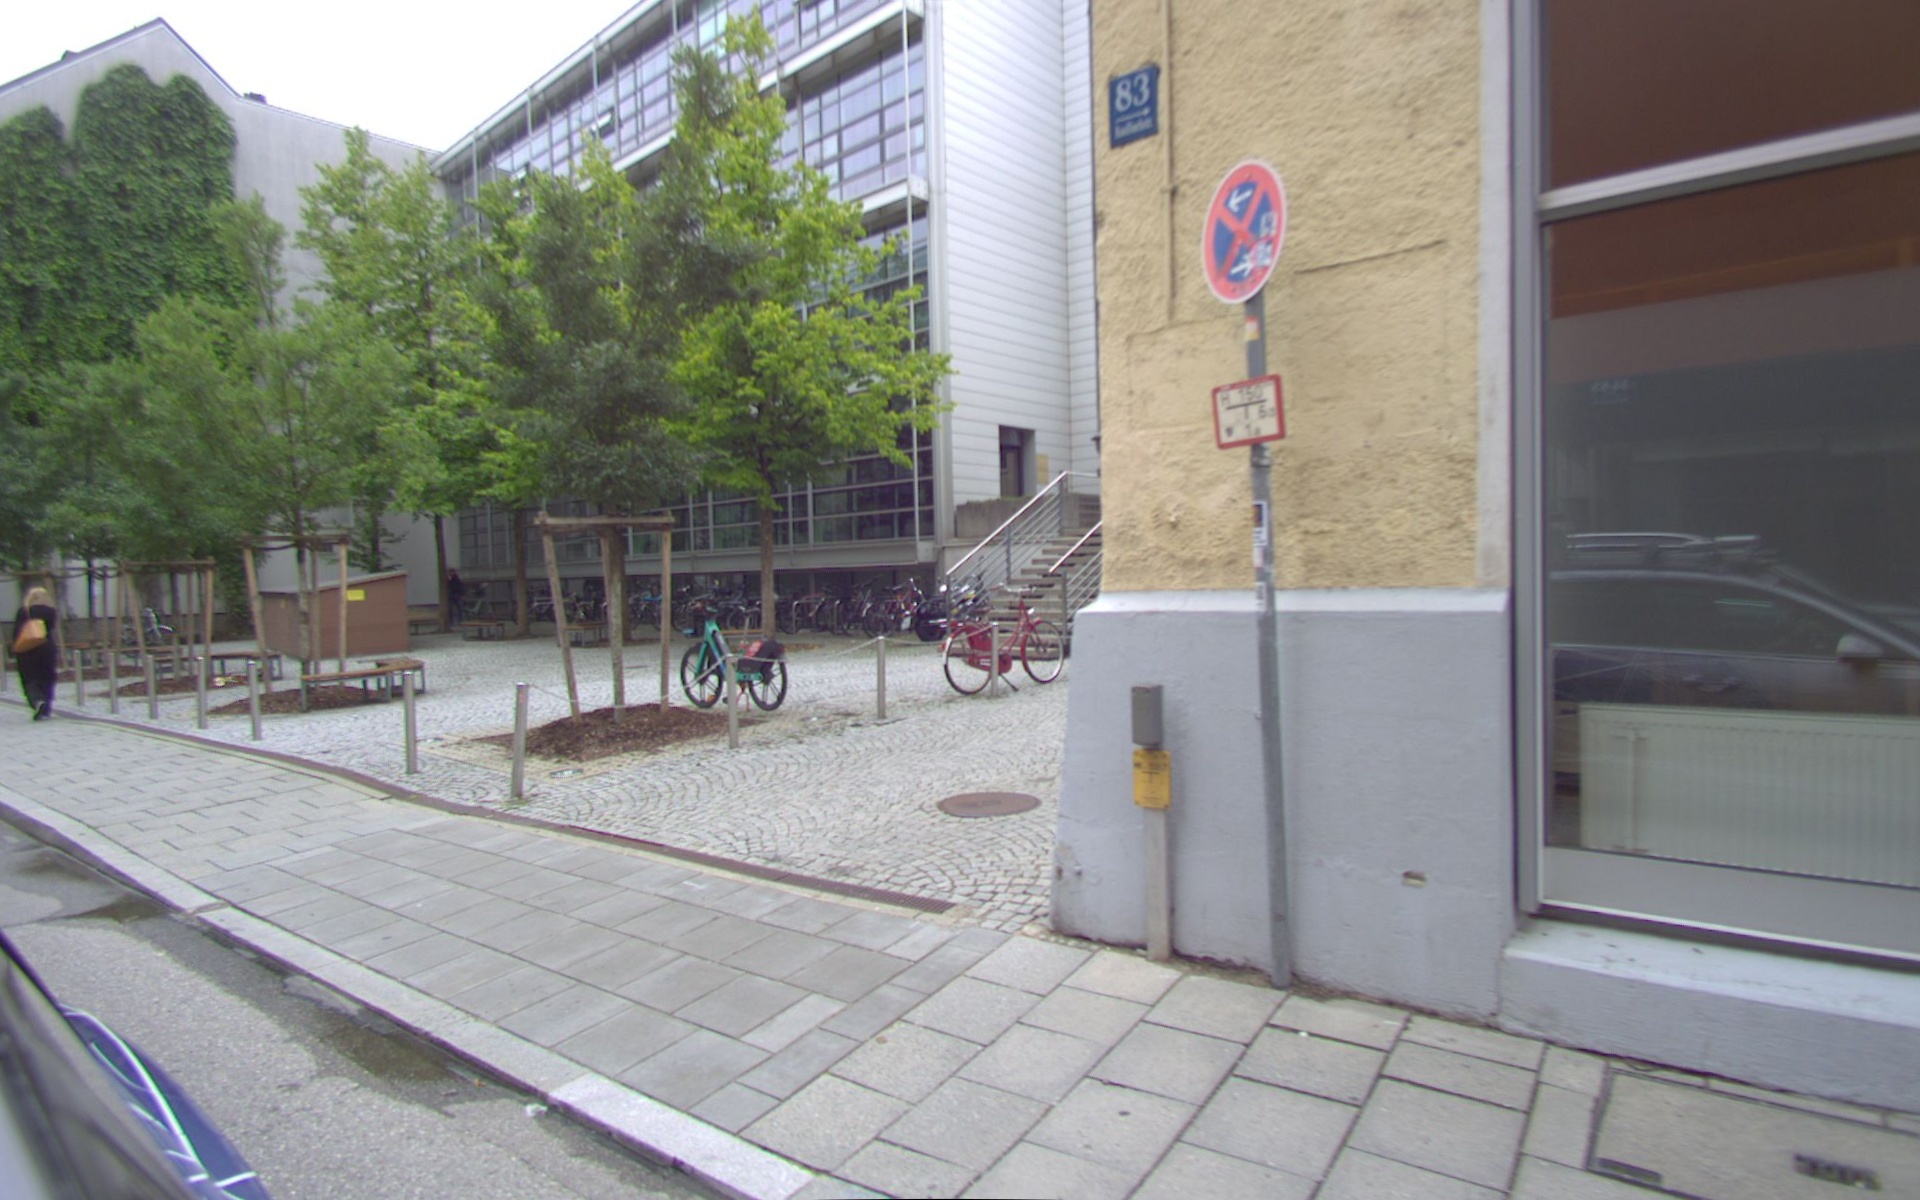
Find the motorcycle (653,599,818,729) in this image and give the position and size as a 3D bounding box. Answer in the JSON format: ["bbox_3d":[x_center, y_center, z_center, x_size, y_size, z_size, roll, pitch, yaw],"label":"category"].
[{"bbox_3d":[-2.311,0.599,10.267,1.980,1.181,0.570,0,2,43],"label":"motorcycle"}]

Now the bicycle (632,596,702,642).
[{"bbox_3d":[-7.237,0.454,25.032,0.628,1.068,1.556,-1,1,40],"label":"bicycle"}]

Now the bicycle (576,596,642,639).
[{"bbox_3d":[-9.401,0.458,27.140,0.628,1.068,1.556,-1,1,40],"label":"bicycle"}]

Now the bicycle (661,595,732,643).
[{"bbox_3d":[-6.290,0.441,24.203,0.628,1.068,1.556,-1,1,40],"label":"bicycle"}]

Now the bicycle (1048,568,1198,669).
[{"bbox_3d":[2.493,0.210,14.981,0.765,1.260,3.195,-1,2,37],"label":"bicycle"}]

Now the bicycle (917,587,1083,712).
[{"bbox_3d":[0.478,0.491,11.173,0.747,1.181,1.954,-1,2,41],"label":"bicycle"}]

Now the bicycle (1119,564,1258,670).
[{"bbox_3d":[3.230,0.180,14.018,0.765,1.260,2.827,-1,2,37],"label":"bicycle"}]

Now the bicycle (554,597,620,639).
[{"bbox_3d":[-10.196,0.482,27.715,0.628,1.068,1.556,-1,1,40],"label":"bicycle"}]

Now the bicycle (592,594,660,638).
[{"bbox_3d":[-8.656,0.404,26.302,0.628,1.068,1.556,-1,1,40],"label":"bicycle"}]

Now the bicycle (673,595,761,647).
[{"bbox_3d":[-5.528,0.466,23.140,0.704,1.066,1.877,-1,2,41],"label":"bicycle"}]

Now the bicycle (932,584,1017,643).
[{"bbox_3d":[0.256,0.271,19.647,1.794,1.099,0.412,-1,0,41],"label":"bicycle"}]

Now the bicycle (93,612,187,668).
[{"bbox_3d":[-18.947,0.918,23.383,1.983,1.217,0.709,-1,2,19],"label":"bicycle"}]

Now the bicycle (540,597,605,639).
[{"bbox_3d":[-10.773,0.487,28.156,0.628,1.068,1.556,-1,1,40],"label":"bicycle"}]

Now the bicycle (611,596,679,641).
[{"bbox_3d":[-8.023,0.450,25.816,0.628,1.068,1.556,-1,1,40],"label":"bicycle"}]

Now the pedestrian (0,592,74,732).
[{"bbox_3d":[-11.621,0.755,12.684,0.996,1.672,0.547,-1,1,37],"label":"pedestrian"}]

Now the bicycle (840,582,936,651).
[{"bbox_3d":[-1.372,0.300,19.573,0.698,1.212,1.877,-1,2,41],"label":"bicycle"}]

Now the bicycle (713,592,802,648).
[{"bbox_3d":[-4.439,0.416,22.255,0.665,1.114,1.877,-1,2,41],"label":"bicycle"}]

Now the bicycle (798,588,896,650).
[{"bbox_3d":[-2.250,0.358,20.380,0.826,1.134,1.877,-1,2,41],"label":"bicycle"}]

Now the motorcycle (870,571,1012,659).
[{"bbox_3d":[-0.289,0.229,17.955,0.969,1.422,2.637,-1,1,41],"label":"motorcycle"}]

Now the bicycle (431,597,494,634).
[{"bbox_3d":[-16.196,0.491,32.974,0.602,1.151,1.702,-1,1,42],"label":"bicycle"}]

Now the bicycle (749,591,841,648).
[{"bbox_3d":[-3.473,0.398,21.454,0.707,1.083,1.877,-1,2,41],"label":"bicycle"}]
